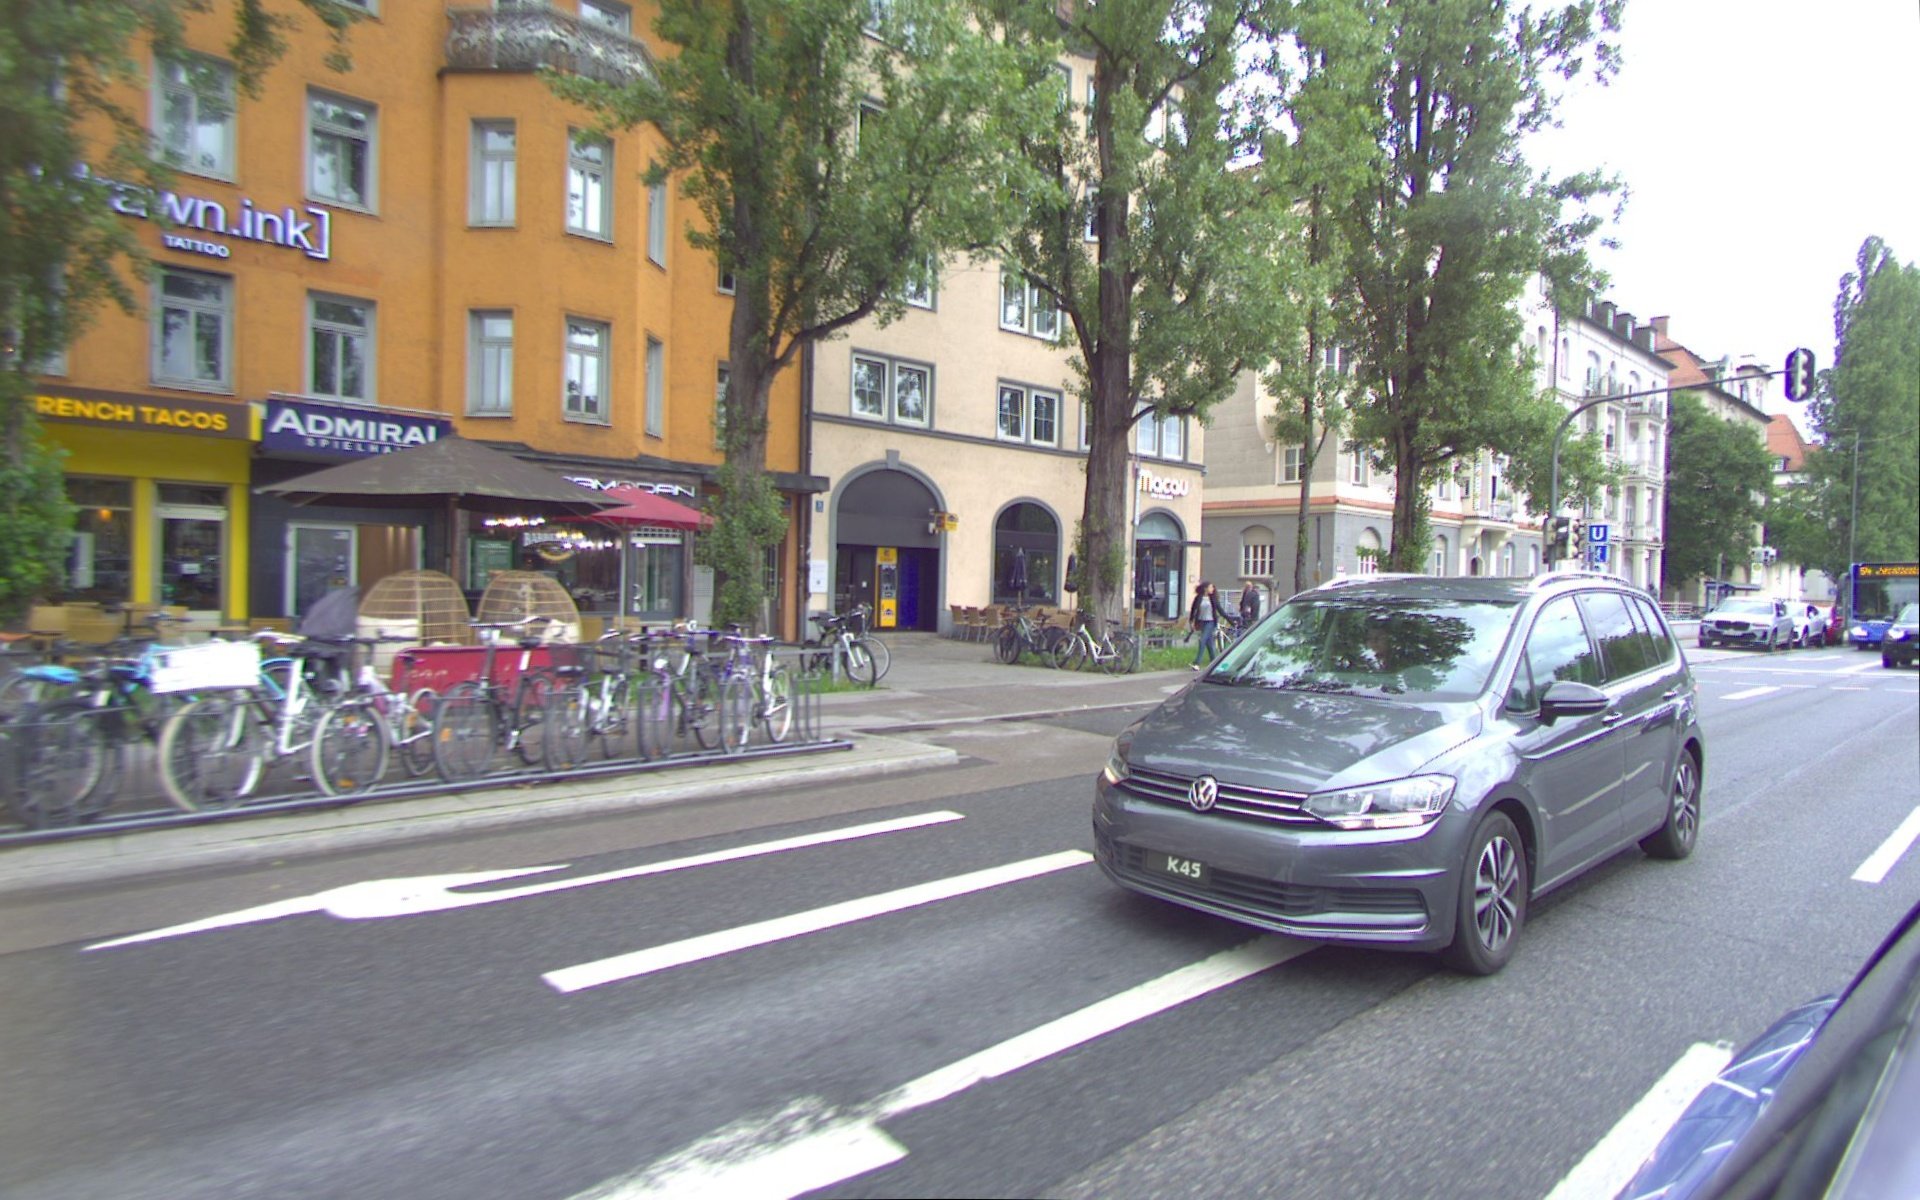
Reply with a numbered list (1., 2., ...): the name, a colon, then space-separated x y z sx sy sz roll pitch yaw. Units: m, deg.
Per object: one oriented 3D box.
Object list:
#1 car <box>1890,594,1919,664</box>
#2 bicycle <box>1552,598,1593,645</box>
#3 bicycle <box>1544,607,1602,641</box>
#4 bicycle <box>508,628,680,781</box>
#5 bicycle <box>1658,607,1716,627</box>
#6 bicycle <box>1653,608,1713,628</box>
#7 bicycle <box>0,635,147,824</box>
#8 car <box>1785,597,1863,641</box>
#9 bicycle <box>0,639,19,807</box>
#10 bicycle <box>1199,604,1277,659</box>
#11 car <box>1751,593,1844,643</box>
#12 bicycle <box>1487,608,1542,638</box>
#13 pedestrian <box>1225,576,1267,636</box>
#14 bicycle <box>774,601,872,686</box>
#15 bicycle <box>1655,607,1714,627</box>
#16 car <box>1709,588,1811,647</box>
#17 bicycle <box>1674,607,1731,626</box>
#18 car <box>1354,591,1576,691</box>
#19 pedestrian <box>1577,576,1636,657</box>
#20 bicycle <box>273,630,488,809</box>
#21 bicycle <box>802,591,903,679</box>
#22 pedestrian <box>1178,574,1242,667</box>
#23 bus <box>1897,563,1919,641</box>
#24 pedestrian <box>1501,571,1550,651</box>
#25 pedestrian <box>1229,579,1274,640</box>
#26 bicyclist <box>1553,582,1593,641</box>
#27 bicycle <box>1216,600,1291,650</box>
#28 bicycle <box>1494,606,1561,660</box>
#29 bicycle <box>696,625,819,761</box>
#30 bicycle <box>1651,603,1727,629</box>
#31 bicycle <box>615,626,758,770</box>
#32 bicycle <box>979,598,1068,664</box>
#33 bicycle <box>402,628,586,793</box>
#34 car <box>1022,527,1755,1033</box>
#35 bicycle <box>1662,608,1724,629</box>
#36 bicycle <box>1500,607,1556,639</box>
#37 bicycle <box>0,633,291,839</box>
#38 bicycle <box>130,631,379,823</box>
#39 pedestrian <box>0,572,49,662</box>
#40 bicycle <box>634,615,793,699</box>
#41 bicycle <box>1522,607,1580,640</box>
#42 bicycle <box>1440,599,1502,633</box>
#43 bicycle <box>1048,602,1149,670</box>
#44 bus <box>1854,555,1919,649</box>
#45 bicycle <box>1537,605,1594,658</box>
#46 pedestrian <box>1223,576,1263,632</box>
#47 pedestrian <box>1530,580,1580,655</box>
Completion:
1. car: 22.846 0.607 23.168 3.901 1.523 1.778 0 -3 -41
2. bicycle: 17.447 0.598 28.801 1.746 1.304 0.424 0 1 -40
3. bicycle: 19.546 0.757 32.265 1.801 1.036 0.447 0 1 -13
4. bicycle: -2.793 0.746 7.933 0.369 1.008 1.836 2 0 10
5. bicycle: 36.321 0.853 50.584 0.629 0.933 2.319 0 0 -43
6. bicycle: 34.938 0.850 48.924 2.307 0.933 0.580 1 0 33
7. bicycle: -5.535 0.740 5.770 0.368 1.008 1.843 2 0 -3
8. car: 32.698 0.696 38.288 3.678 1.527 1.729 0 2 -42
9. bicycle: -5.922 0.740 5.277 0.368 1.008 1.843 2 0 -3
10. bicycle: 5.280 0.583 19.165 1.624 0.977 0.590 0 1 -40
11. car: 29.188 0.584 35.245 3.895 1.596 1.730 0 2 -39
12. bicycle: 18.468 0.765 33.711 1.801 0.990 0.393 0 1 -13
13. pedestrian: 8.448 0.166 29.904 0.999 1.706 0.747 0 1 -40
14. bicycle: -1.948 0.572 14.192 0.450 1.067 1.892 0 1 -38
15. bicycle: 35.838 0.852 50.078 0.629 0.933 2.319 0 0 -43
16. car: 25.382 0.501 32.050 4.424 1.681 1.736 0 2 -42
17. bicycle: 38.741 0.856 52.841 0.629 0.933 2.319 0 0 -43
18. car: 8.871 0.610 17.611 4.452 1.458 1.996 0 2 -43
19. pedestrian: 14.935 0.371 23.385 0.741 1.824 0.883 2 0 -30
20. bicycle: -3.910 0.743 7.000 0.368 1.008 1.841 2 0 1
21. bicycle: -1.633 0.484 15.121 0.571 1.188 1.892 0 1 -38
22. pedestrian: 4.389 0.348 17.790 0.749 1.582 0.762 1 0 -39
23. bus: 40.835 0.082 41.455 8.383 3.012 2.635 0 -1 -41
24. pedestrian: 12.936 0.248 23.160 0.638 1.803 0.702 1 0 -7
25. pedestrian: 7.949 0.247 27.633 0.805 1.622 0.851 1 1 -19
26. bicyclist: 17.401 0.308 28.711 0.923 1.623 0.681 0 1 -40
27. bicycle: 7.050 0.587 24.391 0.439 1.123 1.802 1 0 -38
28. bicycle: 12.901 0.729 23.045 0.352 1.116 1.747 1 1 -6
29. bicycle: -1.703 0.747 8.781 0.369 1.008 1.836 2 0 10
30. bicycle: 34.737 0.734 48.267 2.899 1.163 0.633 1 0 33
31. bicycle: -2.210 0.746 8.406 0.369 1.008 1.836 2 0 10
32. bicycle: 1.173 0.563 19.179 0.450 1.127 1.890 0 1 -42
33. bicycle: -3.374 0.744 7.511 0.368 1.008 1.840 2 0 4
34. car: 2.622 0.585 5.514 4.624 1.667 1.775 0 0 -40
35. bicycle: 34.480 0.847 47.631 2.307 0.933 0.580 1 0 33
36. bicycle: 18.722 0.756 33.336 1.801 1.036 0.393 0 0 -13
37. bicycle: -4.961 0.741 6.213 0.368 1.008 1.840 2 0 4
38. bicycle: -4.494 0.741 6.609 0.368 1.008 1.843 2 0 -2
39. pedestrian: -13.239 0.228 14.260 0.573 1.233 0.623 0 1 -41
40. bicycle: -2.934 0.654 12.190 1.861 0.903 0.457 0 1 -42
41. bicycle: 19.142 0.759 32.752 1.801 1.036 0.447 0 1 -13
42. bicycle: 17.801 0.550 35.300 1.855 1.169 0.464 1 0 8
43. bicycle: 2.398 0.601 17.763 0.450 1.067 1.890 0 1 -42
44. bus: 34.164 0.075 35.716 9.299 3.012 2.635 0 -1 -41
45. bicycle: 13.801 0.692 23.119 0.353 1.116 1.743 1 1 5
46. pedestrian: 8.987 0.111 32.124 0.999 1.735 0.747 0 1 -40
47. pedestrian: 13.676 0.395 23.274 0.743 1.658 0.700 1 0 7
